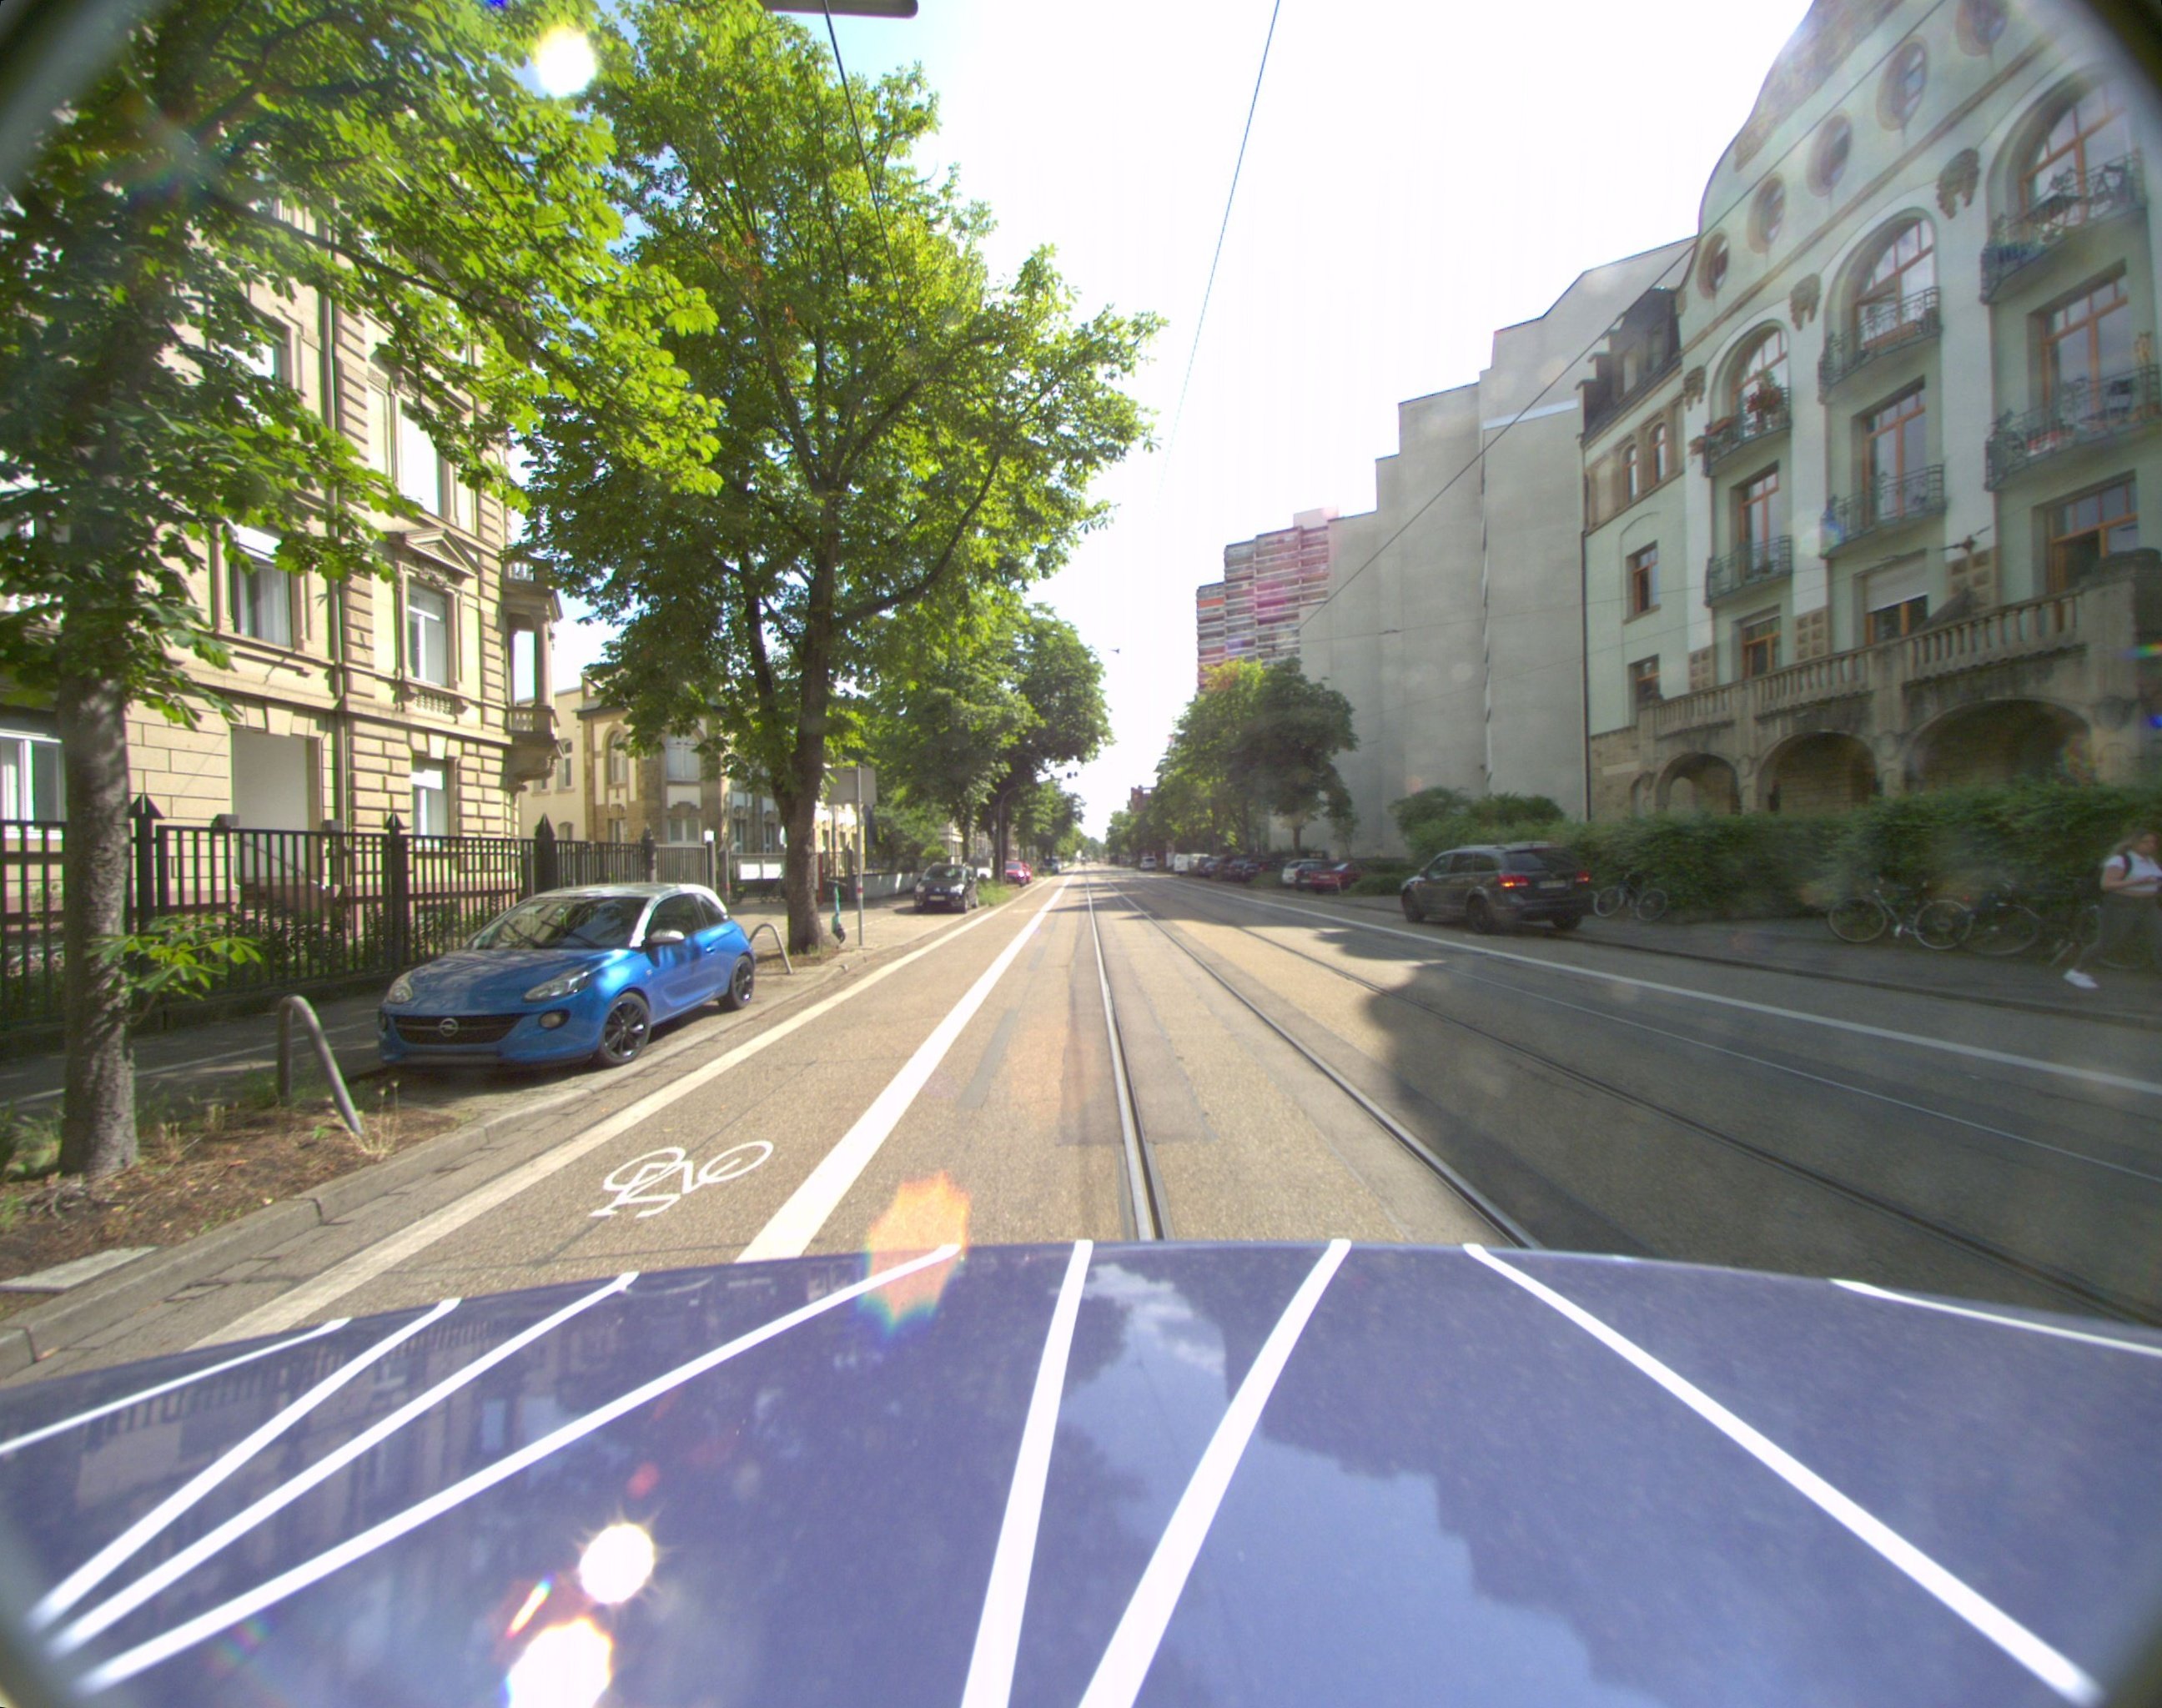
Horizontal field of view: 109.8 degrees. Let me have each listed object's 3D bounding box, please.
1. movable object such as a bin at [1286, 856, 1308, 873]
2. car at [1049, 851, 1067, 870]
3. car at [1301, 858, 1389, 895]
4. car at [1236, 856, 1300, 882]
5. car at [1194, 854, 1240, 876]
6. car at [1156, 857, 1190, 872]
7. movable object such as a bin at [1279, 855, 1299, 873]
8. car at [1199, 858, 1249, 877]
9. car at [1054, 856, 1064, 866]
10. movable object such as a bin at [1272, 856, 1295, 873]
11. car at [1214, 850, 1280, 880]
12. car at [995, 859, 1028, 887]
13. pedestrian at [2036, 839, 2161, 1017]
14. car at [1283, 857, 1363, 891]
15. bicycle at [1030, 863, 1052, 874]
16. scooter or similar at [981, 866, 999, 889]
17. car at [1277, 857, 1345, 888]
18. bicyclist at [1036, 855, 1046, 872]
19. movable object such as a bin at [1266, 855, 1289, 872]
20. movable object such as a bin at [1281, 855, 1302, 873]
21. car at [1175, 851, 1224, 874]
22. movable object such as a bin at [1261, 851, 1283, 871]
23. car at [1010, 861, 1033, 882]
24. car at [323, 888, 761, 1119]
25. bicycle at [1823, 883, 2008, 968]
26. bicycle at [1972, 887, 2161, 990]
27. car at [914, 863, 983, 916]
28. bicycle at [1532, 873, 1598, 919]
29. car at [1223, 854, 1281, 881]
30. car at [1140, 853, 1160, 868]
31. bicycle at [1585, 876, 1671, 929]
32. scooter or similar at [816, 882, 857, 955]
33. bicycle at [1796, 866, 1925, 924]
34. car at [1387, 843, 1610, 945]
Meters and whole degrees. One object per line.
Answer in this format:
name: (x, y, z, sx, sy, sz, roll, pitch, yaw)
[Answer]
movable object such as a bin: (16.624, 0.818, 58.536, 1.171, 1.276, 1.441, 2, 0, -1)
car: (-3.374, 0.906, 112.568, 2.337, 2.545, 5.389, -4, 0, -1)
car: (11.298, 0.932, 32.387, 3.979, 1.475, 1.841, 1, 0, -43)
car: (11.225, 0.898, 45.447, 4.009, 1.475, 1.736, 1, 0, -42)
car: (11.047, 0.879, 61.427, 3.723, 1.683, 1.755, 1, 0, -43)
car: (10.336, 1.139, 85.193, 1.737, 1.514, 3.893, -2, 0, 44)
movable object such as a bin: (16.931, 0.831, 61.917, 1.196, 1.372, 1.441, 2, 0, -3)
car: (10.978, 1.045, 58.156, 1.755, 1.409, 4.009, 1, 0, 44)
car: (-3.989, 1.320, 138.407, 1.750, 1.597, 4.236, -4, 0, -1)
movable object such as a bin: (16.901, 0.859, 63.512, 1.391, 1.356, 1.538, 2, 0, -4)
car: (11.401, 0.771, 52.015, 1.911, 1.942, 5.180, 1, 0, 44)
car: (-4.421, 1.179, 48.969, 1.881, 1.666, 4.281, 0, 0, -2)
pedestrian: (9.944, 0.654, 7.179, 0.681, 1.559, 0.882, -3, 0, 2)
car: (11.330, 0.928, 35.487, 3.815, 1.475, 1.693, 1, 0, -39)
bicycle: (-3.877, 1.393, 72.918, 1.996, 1.034, 0.658, 0, 1, 22)
scooter or similar: (-4.888, 1.248, 40.752, 0.341, 1.230, 1.262, 2, 1, 24)
car: (11.720, 0.920, 38.646, 1.692, 1.475, 3.816, 1, 0, 45)
bicyclist: (-3.877, 0.926, 72.904, 0.740, 1.567, 0.644, 0, 1, 22)
movable object such as a bin: (16.841, 0.829, 65.168, 1.391, 1.356, 1.538, 2, 0, -4)
movable object such as a bin: (16.610, 0.778, 60.007, 1.167, 1.319, 1.441, 2, 0, -1)
car: (11.084, 0.788, 71.109, 4.695, 1.985, 1.963, -1, 0, -41)
movable object such as a bin: (16.801, 0.612, 66.916, 1.391, 1.771, 1.538, 2, 1, -4)
car: (-4.413, 1.281, 56.526, 1.605, 1.420, 3.595, 2, 0, -3)
car: (-4.595, 1.150, 7.227, 1.644, 1.487, 3.626, 0, 0, -1)
bicycle: (11.104, 0.910, 10.216, 0.384, 0.953, 1.921, -3, 0, 2)
bicycle: (11.010, 0.883, 8.274, 0.452, 0.953, 1.801, -3, 0, 0)
car: (-4.483, 1.157, 26.179, 1.701, 1.581, 4.202, 0, 0, -1)
bicycle: (11.130, 0.940, 17.533, 0.384, 0.953, 1.810, -3, 0, 2)
car: (10.957, 0.859, 48.562, 4.009, 1.583, 1.736, 1, 0, -44)
car: (9.539, 0.914, 105.359, 1.892, 1.840, 4.234, -4, 0, -5)
bicycle: (11.087, 0.953, 15.473, 0.384, 0.953, 1.921, -3, 0, 2)
scooter or similar: (-4.638, 1.197, 14.382, 0.443, 1.291, 1.179, 2, -2, -31)
bicycle: (14.379, 0.749, 14.035, 1.919, 0.953, 0.384, -3, 0, 1)
car: (8.355, 0.719, 15.839, 1.790, 1.752, 4.882, -1, 0, -2)
